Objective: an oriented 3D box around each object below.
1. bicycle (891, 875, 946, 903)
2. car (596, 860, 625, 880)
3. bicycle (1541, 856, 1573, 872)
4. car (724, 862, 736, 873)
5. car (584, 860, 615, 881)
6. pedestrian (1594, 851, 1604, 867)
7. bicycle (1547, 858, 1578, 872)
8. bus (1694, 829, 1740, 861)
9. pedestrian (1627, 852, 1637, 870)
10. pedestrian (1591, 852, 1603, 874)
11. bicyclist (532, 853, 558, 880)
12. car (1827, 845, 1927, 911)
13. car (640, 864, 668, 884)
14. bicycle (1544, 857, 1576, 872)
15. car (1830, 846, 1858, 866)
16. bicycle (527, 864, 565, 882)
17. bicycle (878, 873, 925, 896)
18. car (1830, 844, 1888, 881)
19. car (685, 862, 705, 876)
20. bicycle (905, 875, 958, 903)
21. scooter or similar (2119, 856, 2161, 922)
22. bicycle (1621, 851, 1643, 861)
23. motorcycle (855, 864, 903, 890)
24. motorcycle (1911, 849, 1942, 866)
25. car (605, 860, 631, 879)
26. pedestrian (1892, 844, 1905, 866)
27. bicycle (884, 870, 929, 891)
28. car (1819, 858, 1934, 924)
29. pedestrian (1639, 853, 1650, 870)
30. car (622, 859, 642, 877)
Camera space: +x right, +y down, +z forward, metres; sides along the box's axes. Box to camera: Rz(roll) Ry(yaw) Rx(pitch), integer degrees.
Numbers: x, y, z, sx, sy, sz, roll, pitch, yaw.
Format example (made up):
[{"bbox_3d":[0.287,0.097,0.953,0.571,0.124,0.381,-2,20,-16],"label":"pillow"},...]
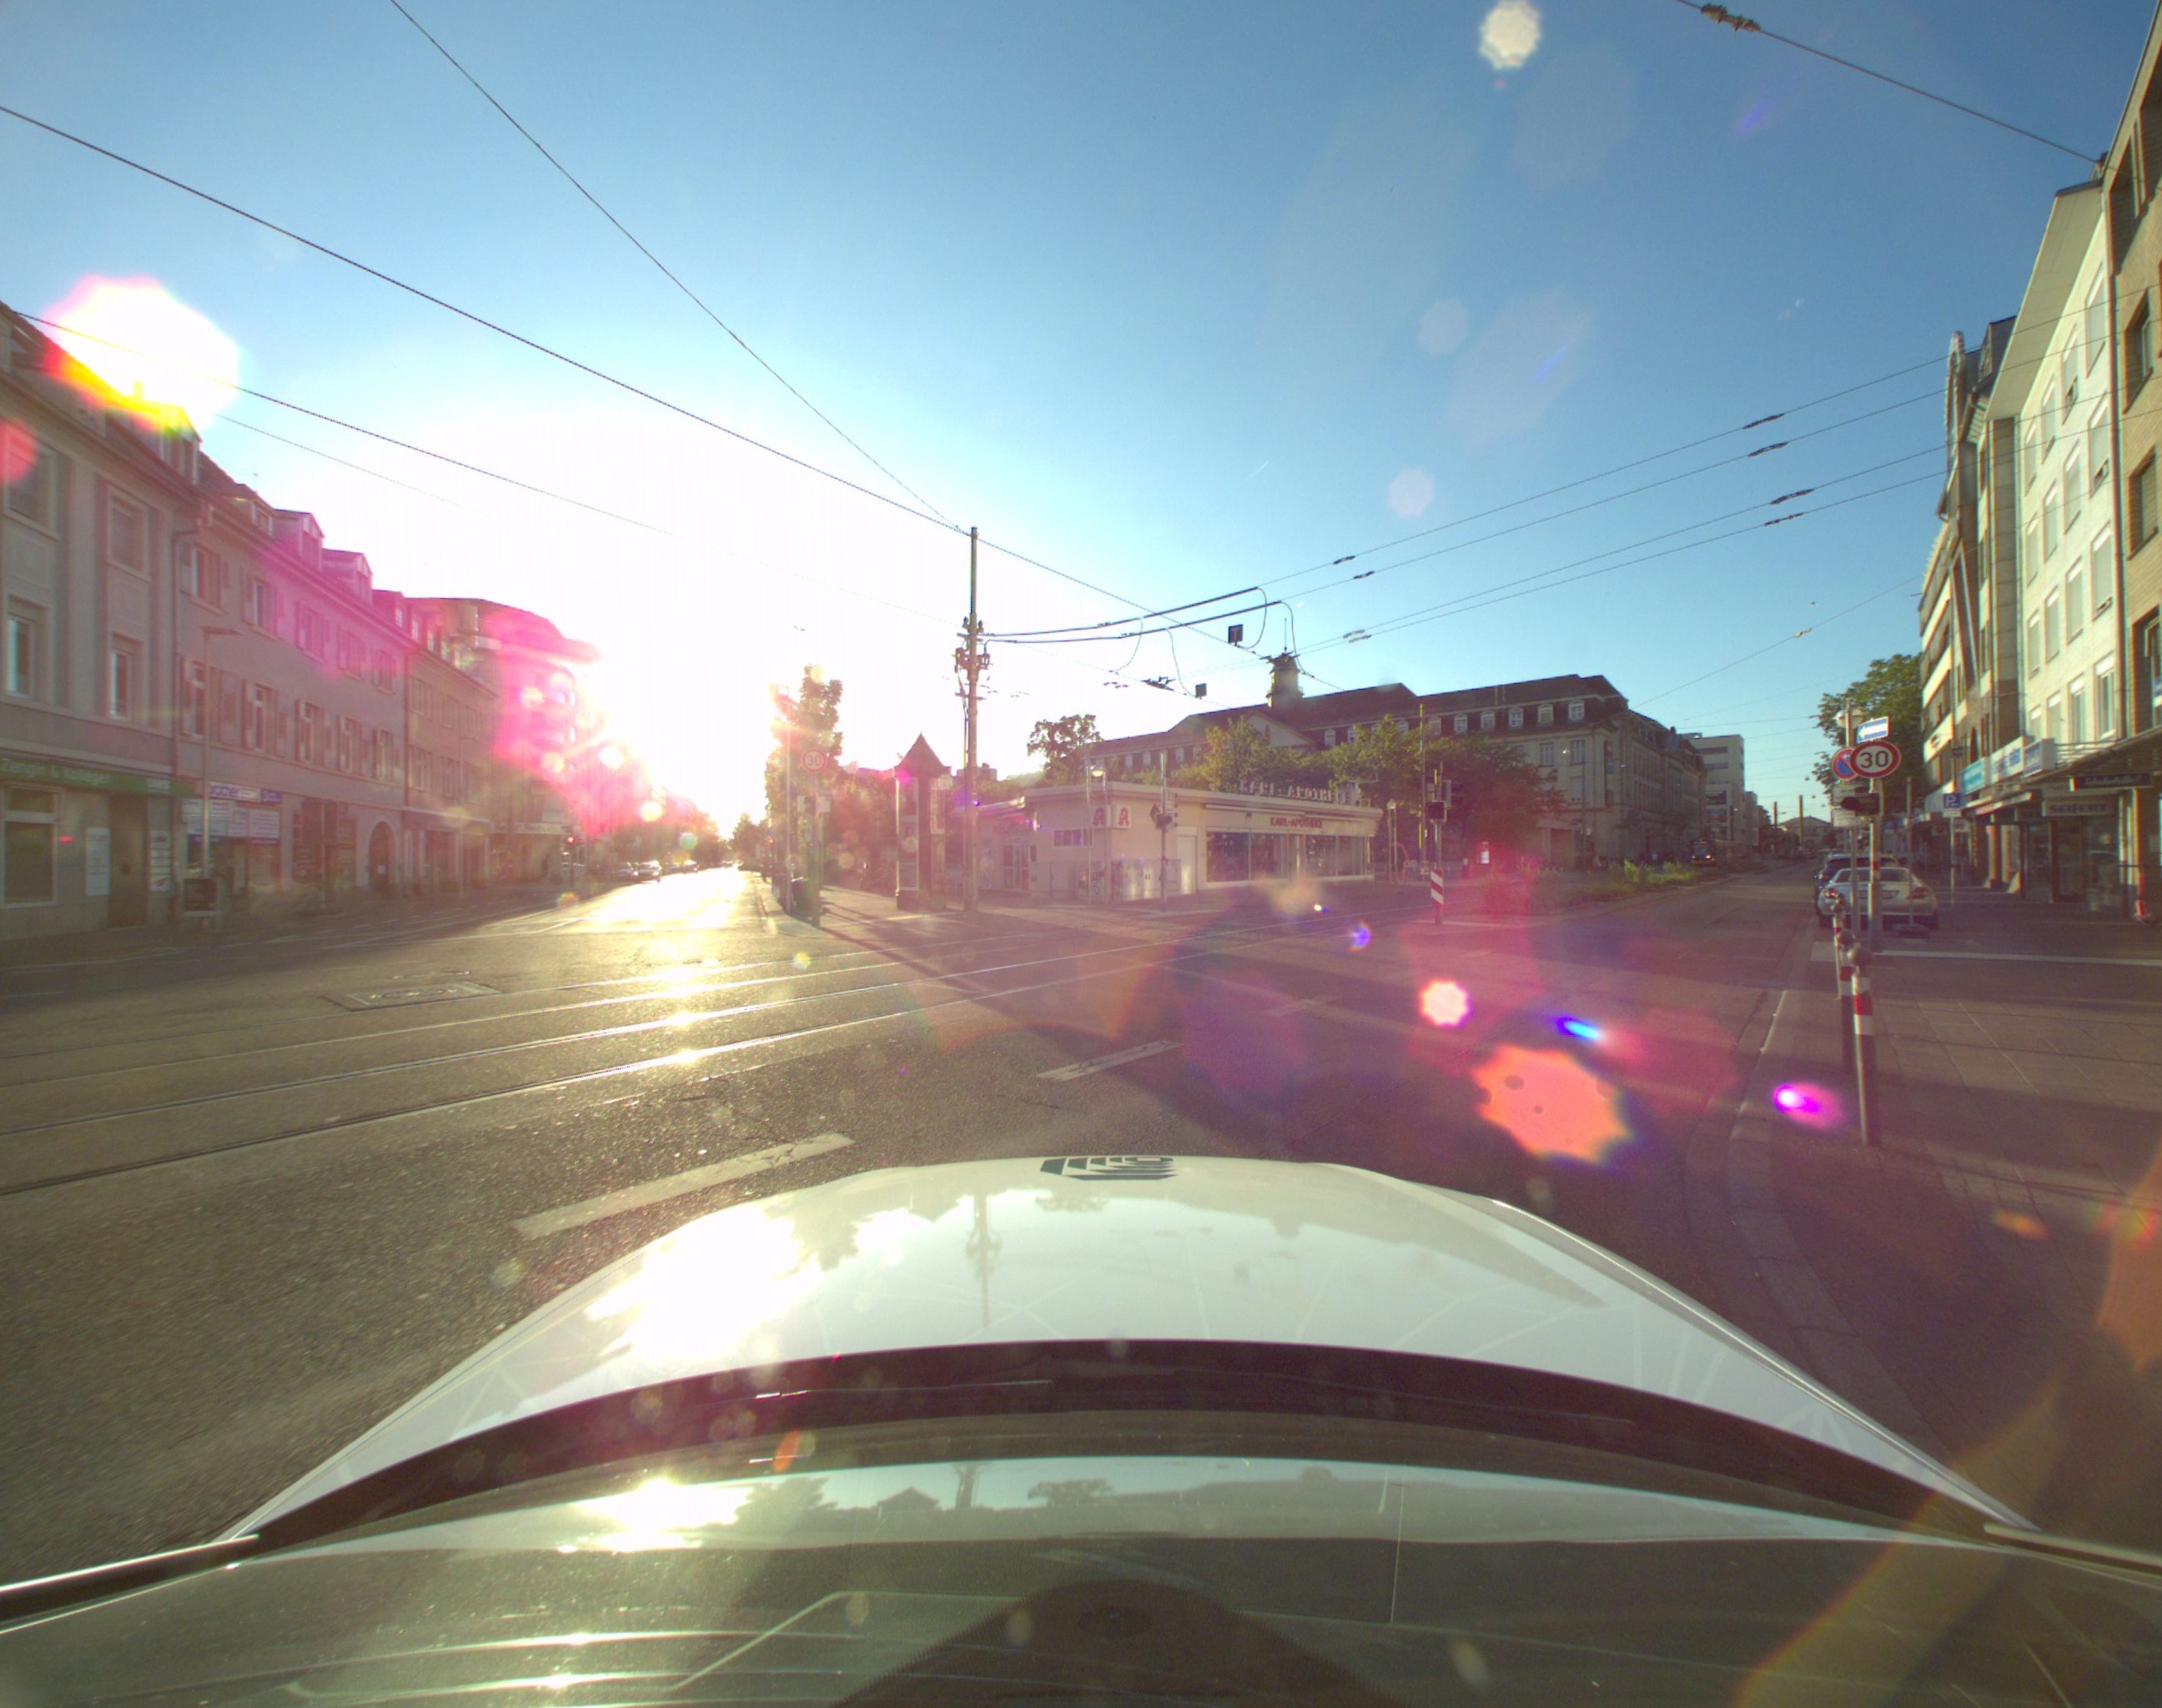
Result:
[{"bbox_3d":[-6.609,1.415,33.035,2.150,1.043,0.557,-1,-1,-15],"label":"bicycle"},{"bbox_3d":[-36.859,1.246,63.831,1.551,1.469,3.326,0,-1,-23],"label":"car"},{"bbox_3d":[39.422,0.867,67.501,2.176,1.300,0.583,-1,-2,44],"label":"bicycle"},{"bbox_3d":[-70.536,2.707,163.642,2.002,2.014,3.969,1,-2,-23],"label":"car"},{"bbox_3d":[-35.672,1.219,60.408,1.551,1.484,3.326,-1,0,-23],"label":"car"},{"bbox_3d":[53.848,0.466,84.674,0.708,1.645,0.663,0,0,22],"label":"pedestrian"},{"bbox_3d":[41.147,0.935,69.635,2.220,1.232,0.588,-1,-1,44],"label":"bicycle"},{"bbox_3d":[80.389,-1.120,102.769,2.796,3.651,17.174,-1,0,44],"label":"bus"},{"bbox_3d":[57.226,0.780,84.566,0.686,1.847,0.665,-1,-2,44],"label":"pedestrian"},{"bbox_3d":[46.886,0.814,73.956,0.797,1.934,0.717,2,-2,-43],"label":"pedestrian"},{"bbox_3d":[-35.682,0.831,54.225,1.127,1.791,0.763,1,-2,-5],"label":"bicyclist"},{"bbox_3d":[21.179,0.571,21.768,1.748,1.605,4.313,-1,0,43],"label":"car"},{"bbox_3d":[-31.965,1.469,61.018,1.551,1.468,3.326,0,-1,-23],"label":"car"},{"bbox_3d":[40.393,0.915,68.700,2.220,1.255,0.583,-1,-2,44],"label":"bicycle"},{"bbox_3d":[74.747,0.208,79.779,1.897,1.981,4.447,-1,-1,44],"label":"car"},{"bbox_3d":[-35.594,1.282,54.216,2.114,1.204,0.499,1,-2,-5],"label":"bicycle"},{"bbox_3d":[-8.252,1.388,37.482,2.081,0.982,0.557,-1,-1,-15],"label":"bicycle"},{"bbox_3d":[34.898,0.340,36.500,1.800,1.585,4.750,-1,0,45],"label":"car"},{"bbox_3d":[-50.475,1.949,106.451,2.000,1.684,3.972,-1,0,-20],"label":"car"},{"bbox_3d":[-5.914,1.392,32.232,2.023,1.044,0.557,-1,-1,-15],"label":"bicycle"},{"bbox_3d":[20.177,0.639,15.372,0.456,1.183,1.582,-1,0,43],"label":"scooter or similar"},{"bbox_3d":[65.250,0.216,96.447,2.077,1.148,0.578,-1,-2,39],"label":"bicycle"},{"bbox_3d":[-9.964,1.111,40.173,2.240,1.201,0.716,-1,0,-17],"label":"motorcycle"},{"bbox_3d":[61.289,0.243,59.072,0.559,1.145,2.307,0,0,18],"label":"motorcycle"},{"bbox_3d":[-38.841,1.302,68.357,1.551,1.469,3.326,0,-1,-23],"label":"car"},{"bbox_3d":[62.157,0.087,61.936,0.658,1.717,0.672,2,-2,-44],"label":"pedestrian"},{"bbox_3d":[-8.380,1.274,39.106,2.041,0.977,0.557,-1,-1,-15],"label":"bicycle"},{"bbox_3d":[17.628,0.744,17.992,4.086,1.282,1.659,0,-1,-44],"label":"car"},{"bbox_3d":[58.275,0.782,84.220,0.726,1.840,0.719,-1,-2,44],"label":"pedestrian"},{"bbox_3d":[-41.114,1.289,74.620,1.312,1.582,2.866,0,-1,-23],"label":"car"}]
